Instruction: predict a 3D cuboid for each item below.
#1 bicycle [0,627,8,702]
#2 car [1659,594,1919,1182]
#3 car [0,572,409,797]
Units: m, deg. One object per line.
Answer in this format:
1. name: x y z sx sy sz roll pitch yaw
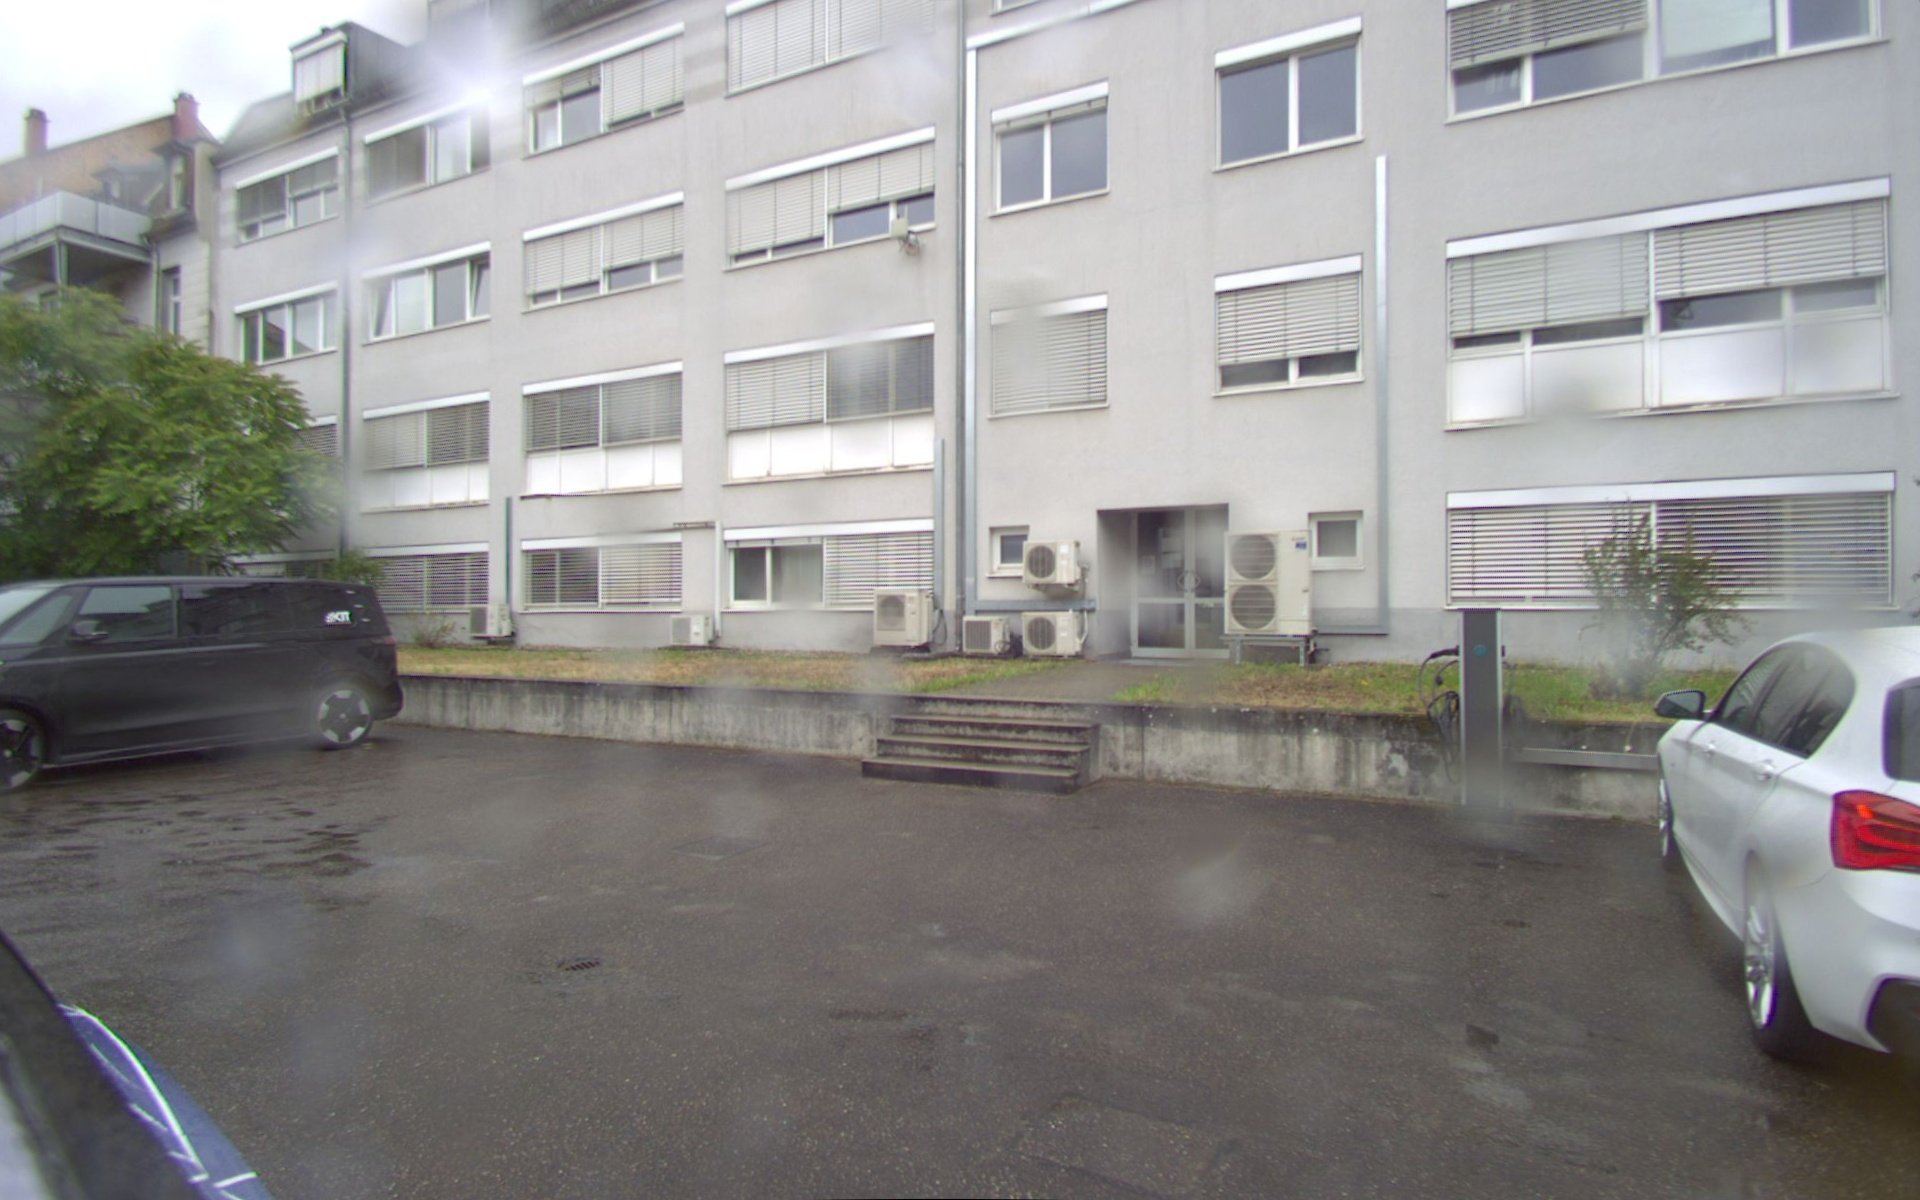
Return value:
1. bicycle: -16.411 1.035 15.702 0.642 1.195 2.294 2 0 33
2. car: 4.055 0.738 3.908 1.745 1.444 4.113 0 -1 28
3. car: -8.222 0.740 10.024 1.977 1.851 4.591 -2 -1 26
